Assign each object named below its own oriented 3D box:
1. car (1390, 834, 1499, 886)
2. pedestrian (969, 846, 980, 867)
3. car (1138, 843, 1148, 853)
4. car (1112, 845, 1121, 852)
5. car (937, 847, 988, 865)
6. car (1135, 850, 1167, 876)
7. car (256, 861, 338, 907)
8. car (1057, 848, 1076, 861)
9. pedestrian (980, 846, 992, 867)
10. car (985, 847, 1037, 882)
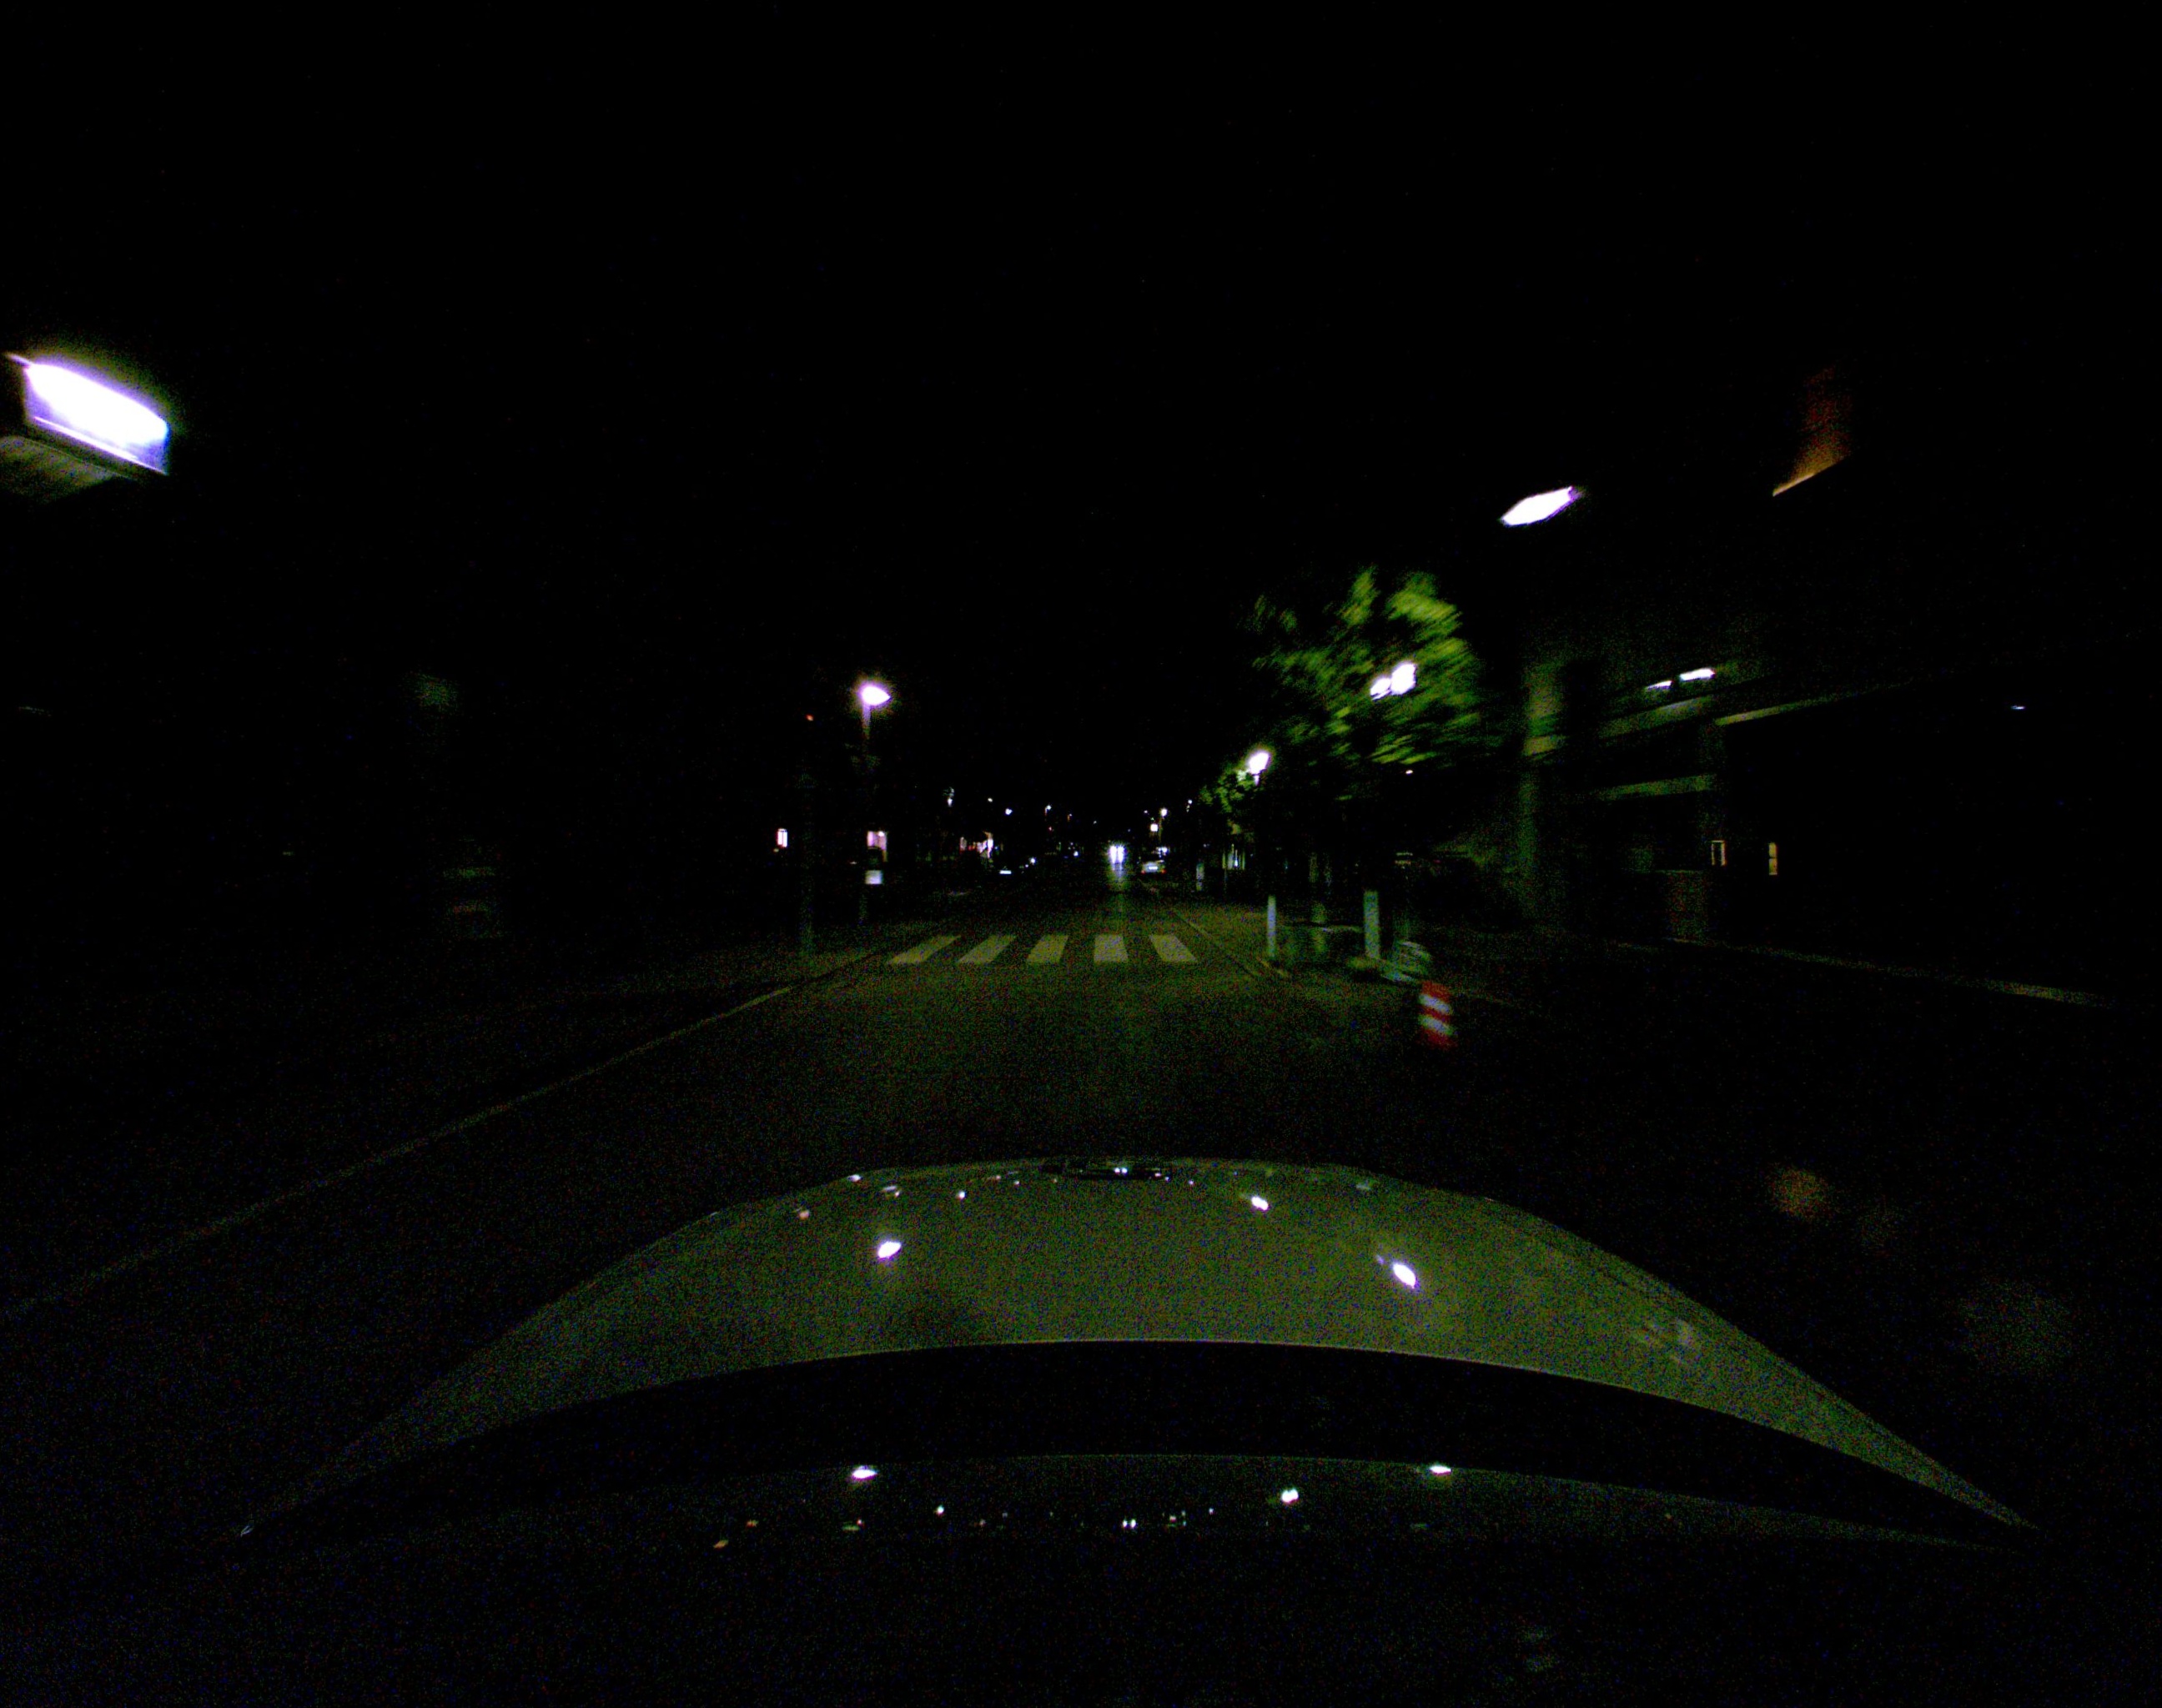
[{"bbox_3d":[12.060,0.225,27.339,1.798,1.460,4.057,-4,-1,1],"label":"car"},{"bbox_3d":[-8.505,0.203,65.086,0.766,1.656,0.818,0,2,3],"label":"pedestrian"},{"bbox_3d":[11.363,-1.108,150.154,1.768,1.652,4.369,0,1,4],"label":"car"},{"bbox_3d":[7.051,-1.082,159.799,1.715,1.246,4.241,0,0,4],"label":"car"},{"bbox_3d":[-10.632,0.158,73.378,4.147,1.438,1.844,-3,0,5],"label":"car"},{"bbox_3d":[4.123,0.519,48.450,1.669,1.459,3.676,0,0,0],"label":"car"},{"bbox_3d":[-27.928,1.004,28.967,3.950,1.441,1.932,0,1,44],"label":"car"},{"bbox_3d":[-1.705,0.056,97.016,1.906,1.370,4.463,0,1,4],"label":"car"},{"bbox_3d":[-7.564,0.223,64.747,0.766,1.656,0.783,0,2,3],"label":"pedestrian"},{"bbox_3d":[-3.599,0.510,42.969,2.009,1.691,5.007,2,0,3],"label":"car"}]
